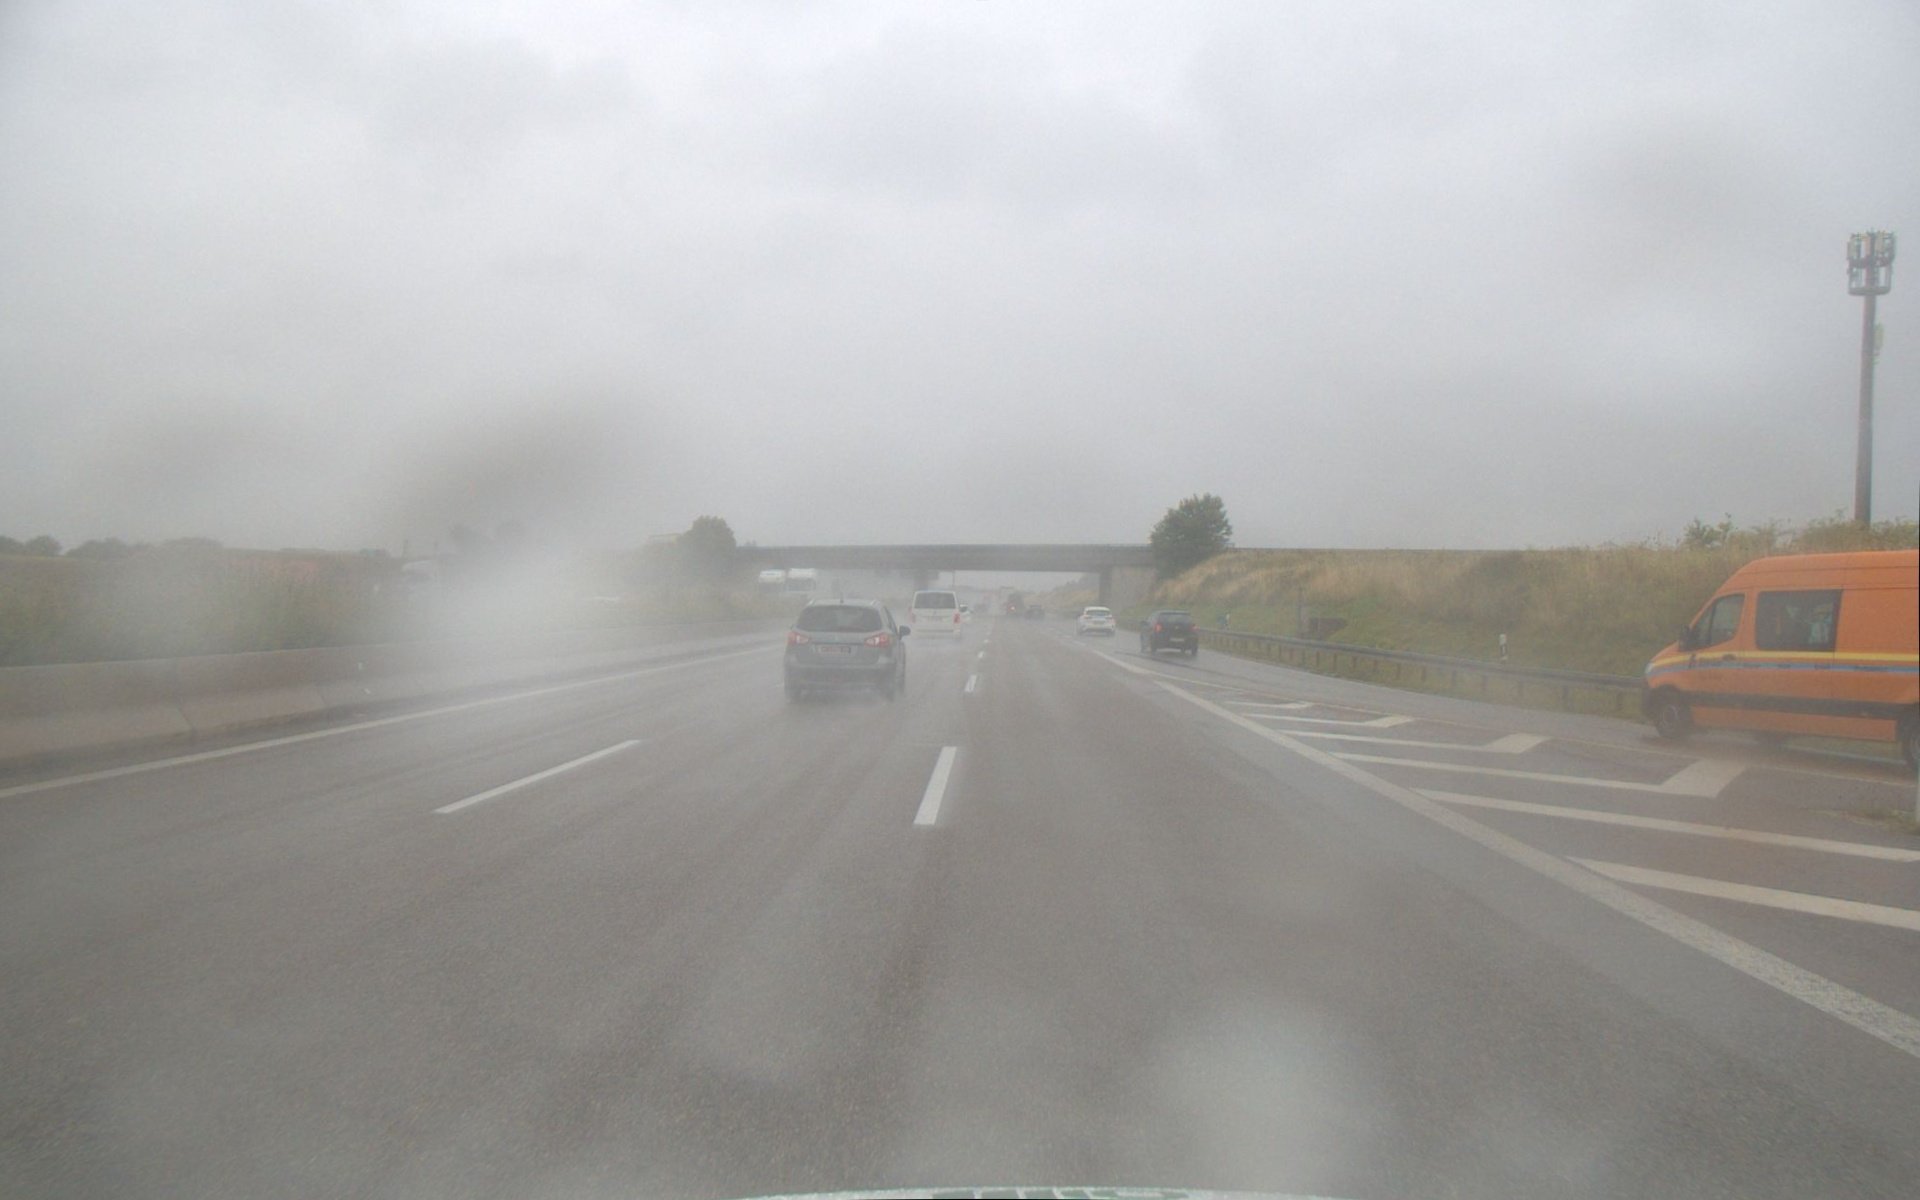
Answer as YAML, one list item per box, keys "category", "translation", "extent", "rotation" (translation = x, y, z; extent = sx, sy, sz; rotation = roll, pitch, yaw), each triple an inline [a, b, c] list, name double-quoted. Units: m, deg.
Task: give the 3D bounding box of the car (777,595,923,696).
- category: "car"
  translation: [-1.741, 0.704, 27.623]
  extent: [1.807, 1.540, 4.759]
  rotation: [0, 0, 4]

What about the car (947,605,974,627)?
- category: "car"
  translation: [0.054, 0.898, 95.858]
  extent: [1.437, 1.229, 2.992]
  rotation: [1, 0, 2]

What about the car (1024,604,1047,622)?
- category: "car"
  translation: [6.673, 1.190, 146.366]
  extent: [1.764, 1.534, 3.999]
  rotation: [1, -1, -1]

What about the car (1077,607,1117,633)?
- category: "car"
  translation: [7.060, 1.012, 85.753]
  extent: [1.952, 1.288, 4.001]
  rotation: [1, -1, 3]

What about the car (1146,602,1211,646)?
- category: "car"
  translation: [7.519, 0.802, 57.149]
  extent: [1.696, 1.446, 3.657]
  rotation: [1, 0, -1]

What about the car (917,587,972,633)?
- category: "car"
  translation: [-0.550, 0.375, 61.132]
  extent: [1.858, 1.613, 4.001]
  rotation: [1, -1, 2]

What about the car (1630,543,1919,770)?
- category: "car"
  translation: [11.815, 0.687, 21.262]
  extent: [2.028, 2.661, 6.853]
  rotation: [2, 0, -17]

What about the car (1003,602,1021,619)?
- category: "car"
  translation: [6.266, 1.261, 200.125]
  extent: [1.953, 2.138, 3.999]
  rotation: [0, 0, -1]
